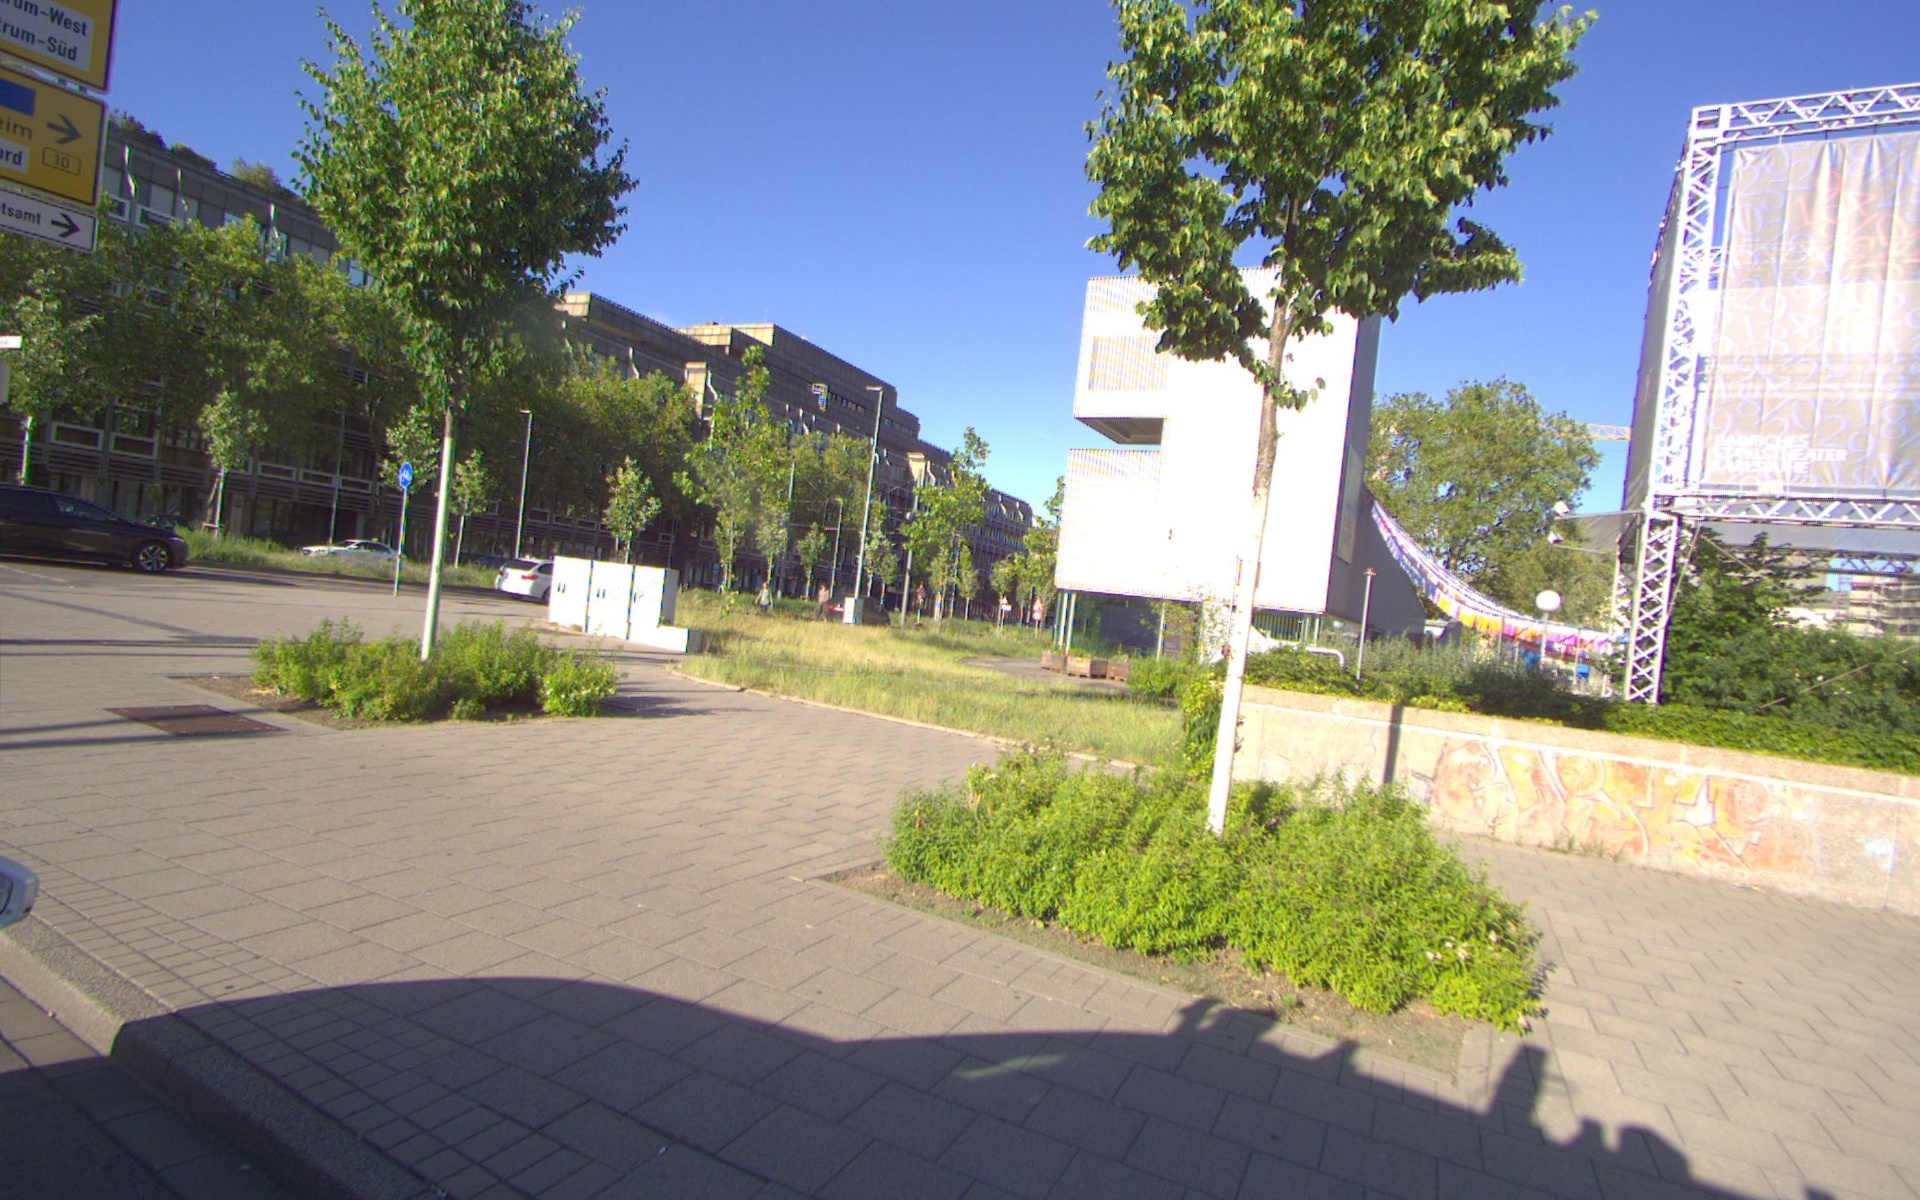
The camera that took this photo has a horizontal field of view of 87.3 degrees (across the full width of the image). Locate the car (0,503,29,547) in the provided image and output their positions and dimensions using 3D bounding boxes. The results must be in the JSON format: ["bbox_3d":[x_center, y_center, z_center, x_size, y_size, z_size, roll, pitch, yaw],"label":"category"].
[{"bbox_3d":[-37.242,-3.038,36.944,1.836,1.525,3.997,7,-2,29],"label":"car"}]

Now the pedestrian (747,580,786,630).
[{"bbox_3d":[-6.996,0.186,36.399,0.925,1.650,0.803,7,1,18],"label":"pedestrian"}]

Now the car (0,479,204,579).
[{"bbox_3d":[-19.124,-1.580,20.934,1.966,1.621,4.947,8,0,29],"label":"car"}]

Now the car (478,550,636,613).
[{"bbox_3d":[-13.372,-0.559,33.702,1.965,1.546,4.698,7,-1,26],"label":"car"}]

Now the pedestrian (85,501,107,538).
[{"bbox_3d":[-42.119,-3.937,49.019,0.528,1.690,0.541,7,1,29],"label":"pedestrian"}]

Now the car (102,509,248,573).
[{"bbox_3d":[-34.110,-2.525,43.881,1.965,2.036,4.458,7,-2,27],"label":"car"}]

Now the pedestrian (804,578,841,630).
[{"bbox_3d":[-4.960,0.148,36.287,0.925,1.750,0.695,7,1,18],"label":"pedestrian"}]

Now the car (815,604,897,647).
[{"bbox_3d":[-5.242,1.339,51.225,1.964,1.780,4.484,9,1,24],"label":"car"}]

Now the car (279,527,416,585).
[{"bbox_3d":[-30.675,-2.178,50.585,2.062,2.036,5.455,6,-2,29],"label":"car"}]
